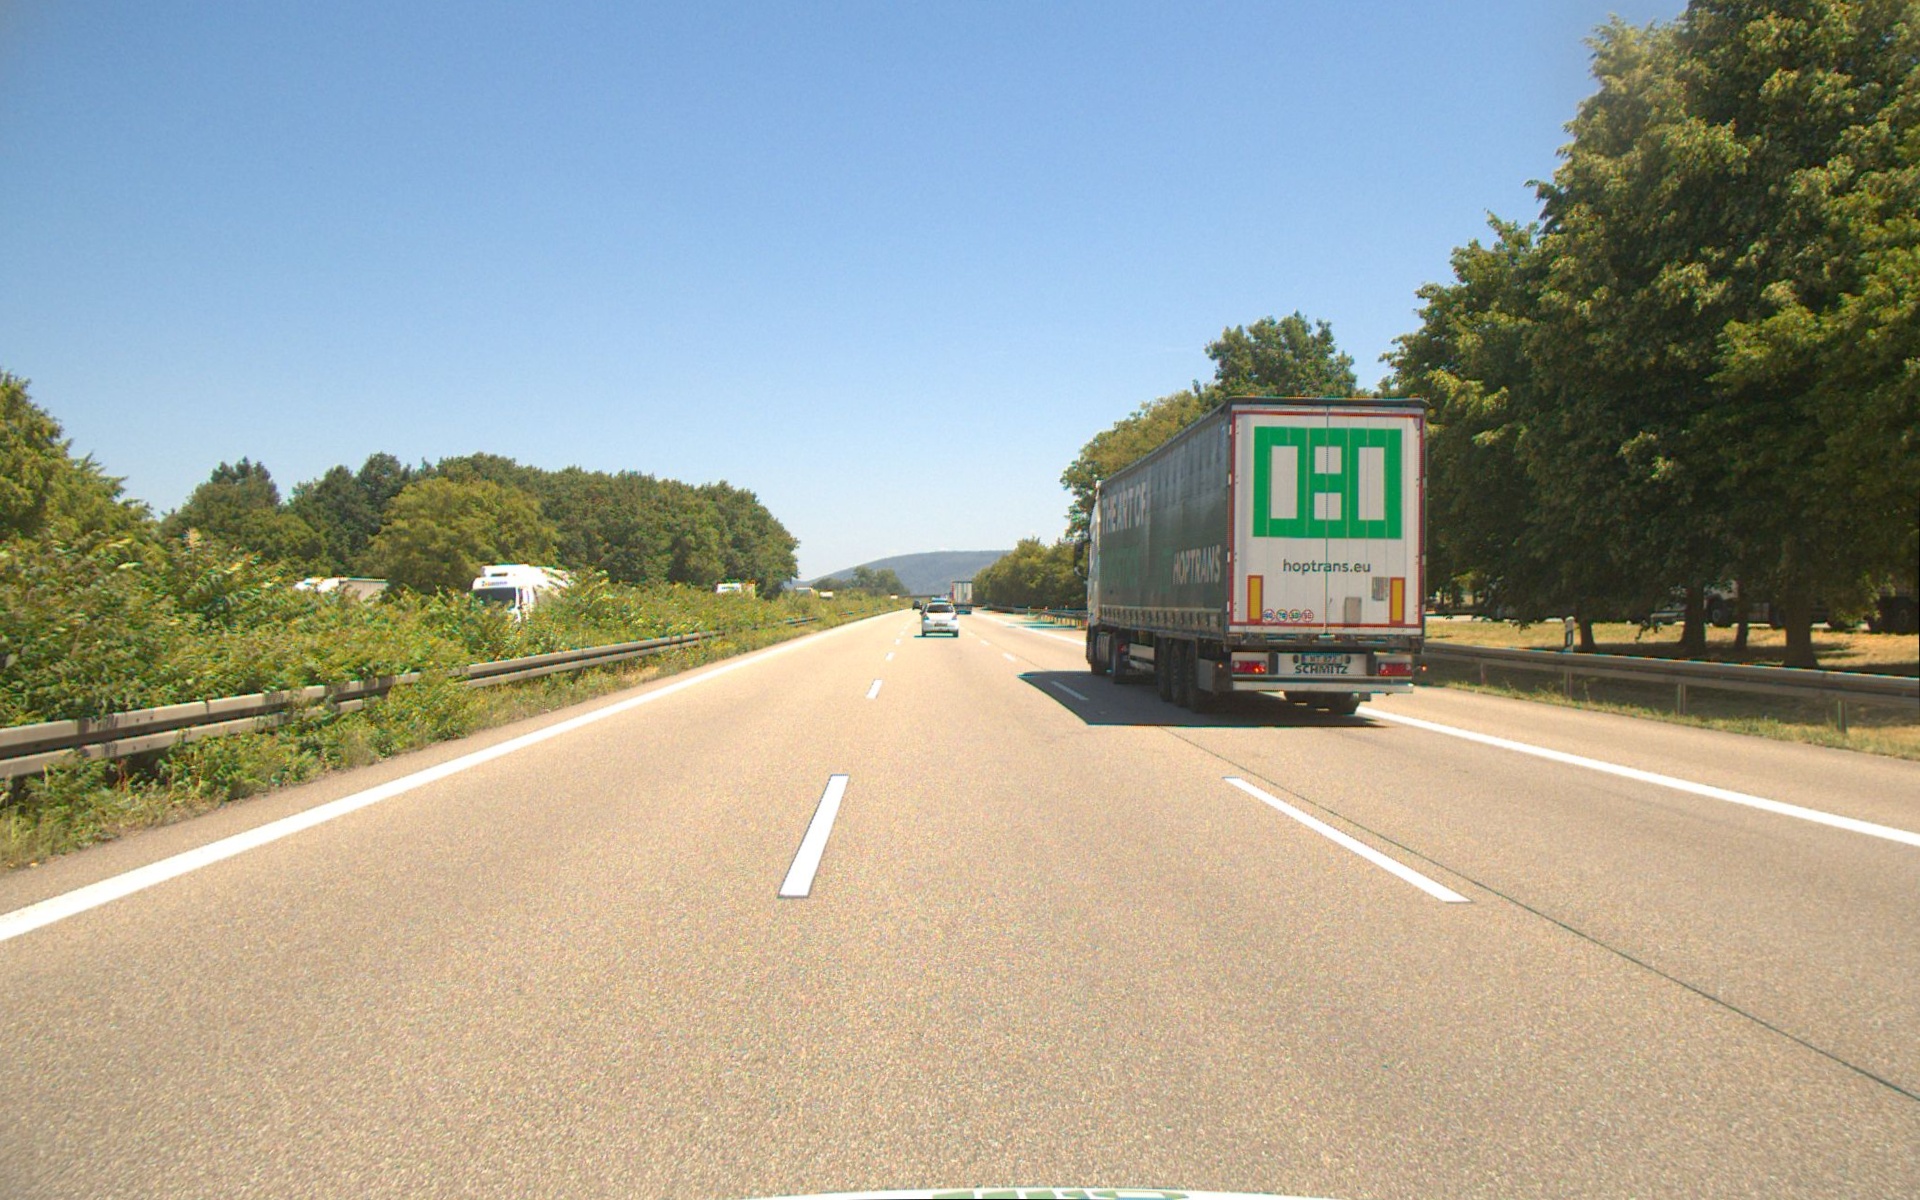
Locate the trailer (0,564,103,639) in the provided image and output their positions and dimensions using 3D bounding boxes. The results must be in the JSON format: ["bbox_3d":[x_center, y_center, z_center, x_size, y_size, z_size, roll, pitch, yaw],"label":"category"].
[{"bbox_3d":[-49.592,0.103,86.962,1.952,3.794,13.594,0,0,0],"label":"trailer"}]

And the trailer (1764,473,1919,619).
[{"bbox_3d":[27.147,-1.425,46.893,3.037,3.856,13.369,0,0,4],"label":"trailer"}]

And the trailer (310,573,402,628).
[{"bbox_3d":[-45.849,0.033,126.000,2.242,3.938,10.712,-1,0,5],"label":"trailer"}]

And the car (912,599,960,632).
[{"bbox_3d":[-1.120,0.685,75.210,1.777,1.429,3.311,-1,0,-8],"label":"car"}]

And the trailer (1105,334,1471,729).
[{"bbox_3d":[4.470,-0.836,25.872,3.117,4.708,12.047,-1,0,-1],"label":"trailer"}]

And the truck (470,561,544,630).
[{"bbox_3d":[-21.034,-0.206,76.988,2.299,3.133,4.396,0,0,-1],"label":"truck"}]

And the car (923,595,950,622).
[{"bbox_3d":[-1.731,0.613,122.754,1.858,1.926,4.001,-1,0,1],"label":"car"}]

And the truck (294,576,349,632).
[{"bbox_3d":[-46.361,0.275,120.150,2.207,3.938,3.804,-1,0,5],"label":"truck"}]

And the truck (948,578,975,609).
[{"bbox_3d":[0.180,-0.855,213.745,3.258,3.822,12.792,0,0,-1],"label":"truck"}]

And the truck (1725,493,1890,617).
[{"bbox_3d":[27.678,-1.410,54.261,3.023,3.856,5.320,0,0,5],"label":"truck"}]

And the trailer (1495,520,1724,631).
[{"bbox_3d":[26.305,-0.904,68.256,3.073,4.021,14.186,-1,0,-3],"label":"trailer"}]

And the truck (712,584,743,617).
[{"bbox_3d":[-23.302,0.034,165.865,2.521,3.199,4.262,0,0,-2],"label":"truck"}]

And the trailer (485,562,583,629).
[{"bbox_3d":[-21.139,-0.211,82.681,2.323,3.144,10.646,0,0,-1],"label":"trailer"}]

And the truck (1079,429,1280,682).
[{"bbox_3d":[4.296,-0.832,33.724,3.118,4.688,5.945,0,0,-2],"label":"truck"}]
